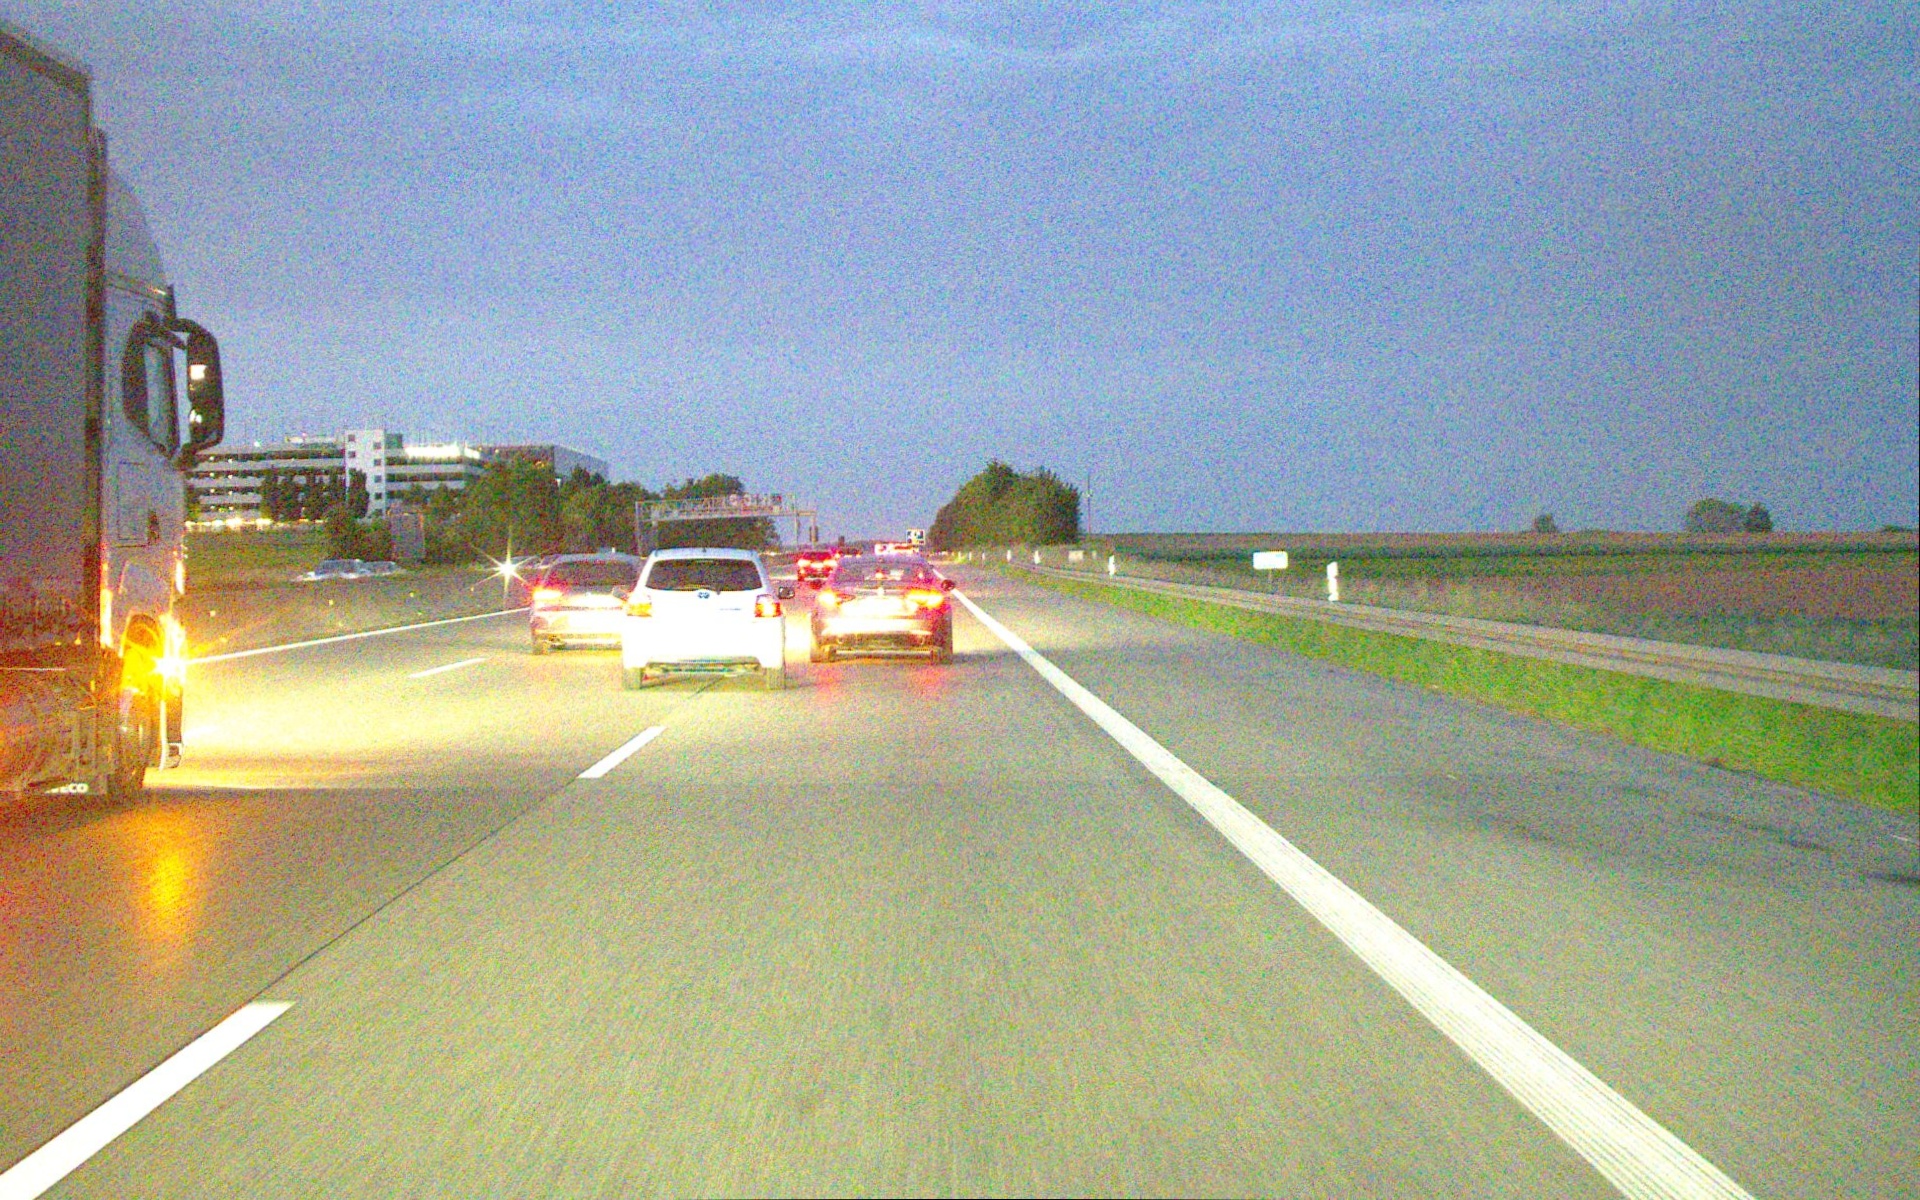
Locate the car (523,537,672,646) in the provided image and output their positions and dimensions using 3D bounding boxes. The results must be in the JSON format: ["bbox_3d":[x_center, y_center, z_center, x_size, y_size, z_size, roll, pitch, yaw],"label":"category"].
[{"bbox_3d":[-5.146,-0.131,49.321,1.722,1.466,4.726,1,0,-1],"label":"car"}]

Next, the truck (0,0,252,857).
[{"bbox_3d":[-5.900,-0.848,18.840,2.777,4.079,6.103,0,0,0],"label":"truck"}]

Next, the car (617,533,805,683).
[{"bbox_3d":[-2.670,0.067,37.679,1.744,1.519,4.414,1,0,0],"label":"car"}]

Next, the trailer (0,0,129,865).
[{"bbox_3d":[-5.891,-0.761,11.322,2.794,4.071,14.526,0,0,0],"label":"trailer"}]

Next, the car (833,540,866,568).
[{"bbox_3d":[-7.590,-3.148,235.906,2.199,1.873,4.000,1,0,-1],"label":"car"}]

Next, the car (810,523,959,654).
[{"bbox_3d":[-1.007,-0.161,46.097,1.880,1.637,4.000,1,0,-1],"label":"car"}]

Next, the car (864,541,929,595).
[{"bbox_3d":[-1.933,-0.952,103.073,1.880,1.547,4.000,1,0,-2],"label":"car"}]

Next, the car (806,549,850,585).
[{"bbox_3d":[-5.892,-1.476,153.633,1.880,1.547,4.000,1,0,-2],"label":"car"}]
